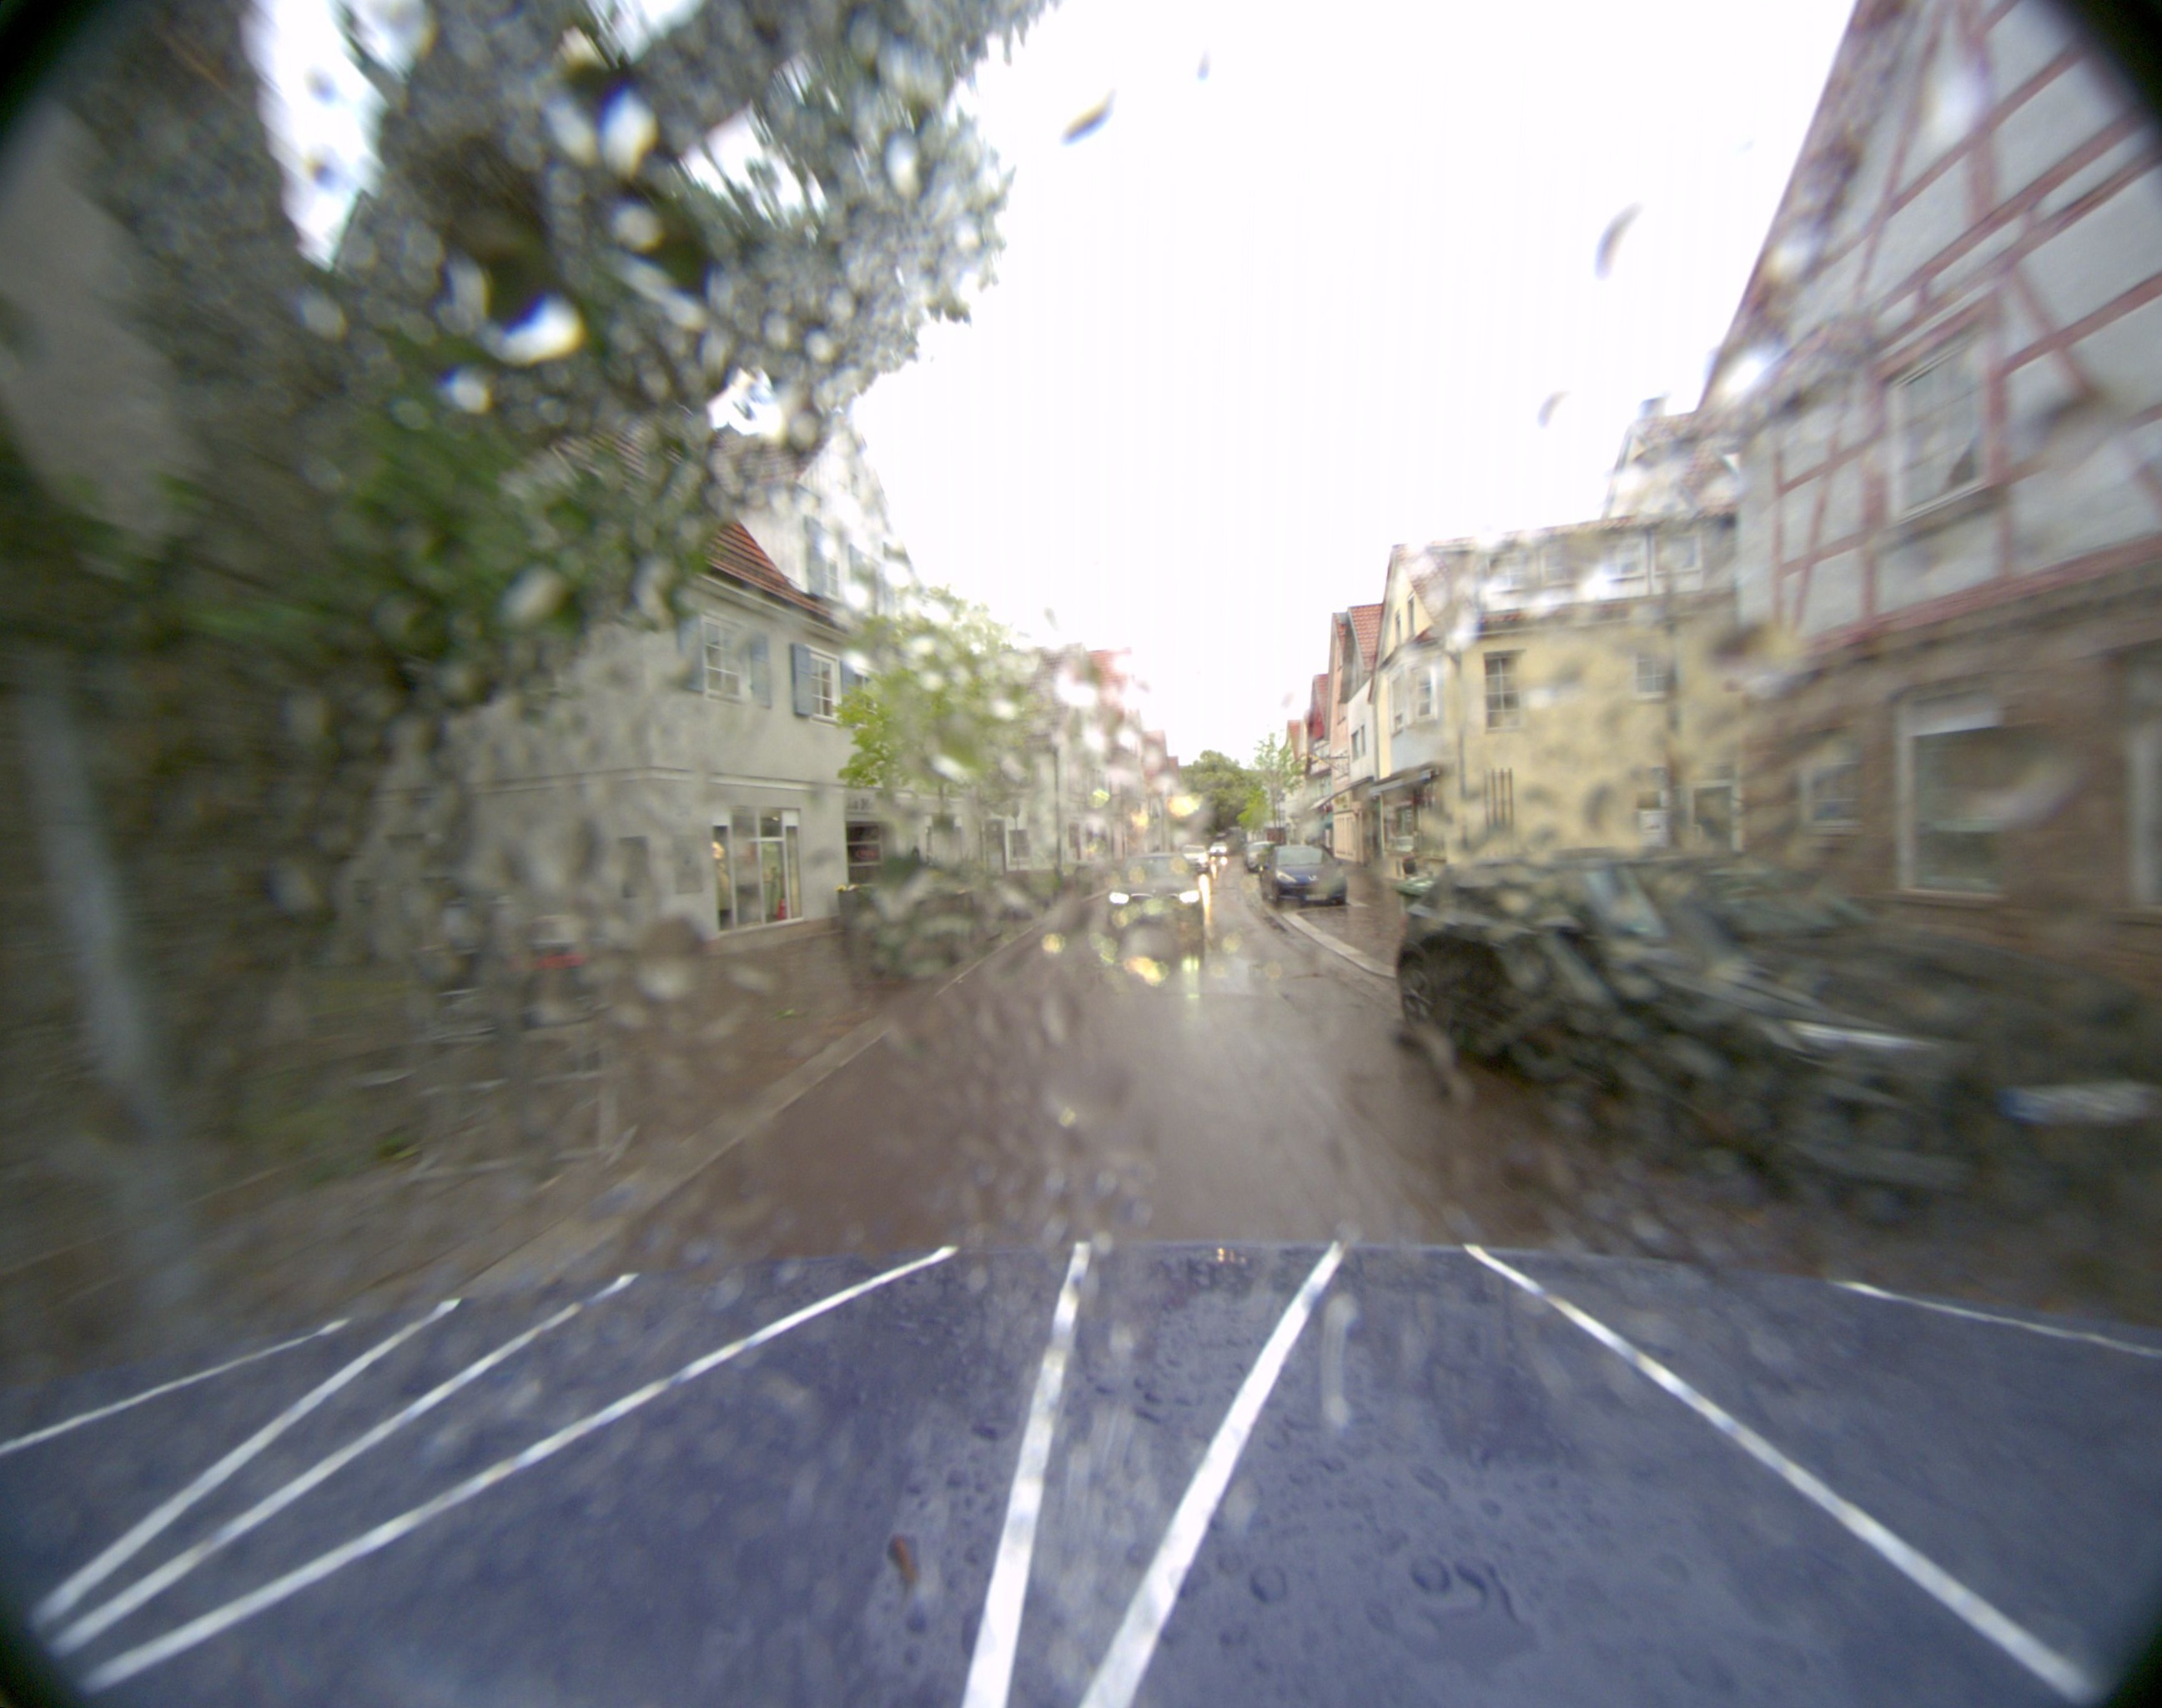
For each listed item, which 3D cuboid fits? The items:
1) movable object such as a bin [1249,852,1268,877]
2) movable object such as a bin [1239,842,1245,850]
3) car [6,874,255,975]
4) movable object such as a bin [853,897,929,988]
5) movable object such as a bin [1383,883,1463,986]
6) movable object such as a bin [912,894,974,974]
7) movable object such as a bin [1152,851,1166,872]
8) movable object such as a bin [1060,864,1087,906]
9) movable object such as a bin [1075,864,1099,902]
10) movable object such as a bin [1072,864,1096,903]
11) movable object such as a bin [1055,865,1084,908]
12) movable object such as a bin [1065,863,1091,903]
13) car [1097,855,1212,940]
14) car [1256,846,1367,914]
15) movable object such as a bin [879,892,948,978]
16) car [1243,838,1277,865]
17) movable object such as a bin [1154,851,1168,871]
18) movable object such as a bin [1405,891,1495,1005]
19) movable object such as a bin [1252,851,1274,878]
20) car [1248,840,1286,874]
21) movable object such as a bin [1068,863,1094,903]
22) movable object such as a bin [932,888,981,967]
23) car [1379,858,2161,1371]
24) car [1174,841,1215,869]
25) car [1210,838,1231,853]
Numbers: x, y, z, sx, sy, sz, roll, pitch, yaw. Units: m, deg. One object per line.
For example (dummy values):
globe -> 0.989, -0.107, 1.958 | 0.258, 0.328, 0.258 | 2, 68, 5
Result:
movable object such as a bin -> 8.366, 0.484, 35.813 | 0.816, 1.100, 0.610 | -2, 2, 8
movable object such as a bin -> 22.425, -1.082, 105.697 | 0.544, 1.143, 0.586 | 0, 3, 39
car -> -17.671, 1.195, 14.407 | 1.588, 1.470, 3.990 | -1, 1, -30
movable object such as a bin -> -2.434, 1.131, 9.787 | 0.730, 1.074, 0.577 | -2, 2, 9
movable object such as a bin -> 4.054, 0.940, 9.044 | 0.631, 1.107, 0.733 | -2, 2, 4
movable object such as a bin -> -2.021, 1.164, 11.178 | 0.694, 1.095, 0.562 | -2, 2, 9
movable object such as a bin -> 4.749, 0.455, 46.388 | 0.719, 1.195, 0.579 | -2, 2, 14
movable object such as a bin -> -0.221, 0.949, 23.624 | 0.679, 1.243, 0.565 | -2, 2, 12
movable object such as a bin -> 0.203, 0.969, 25.860 | 0.659, 1.232, 0.621 | -2, 2, 12
movable object such as a bin -> 0.096, 0.982, 25.294 | 0.659, 1.238, 0.543 | -2, 2, 12
movable object such as a bin -> -0.350, 0.974, 22.967 | 0.679, 1.234, 0.732 | -2, 2, 12
movable object such as a bin -> -0.100, 0.909, 24.186 | 0.679, 1.225, 0.565 | -2, 2, 12
car -> 1.612, 0.788, 16.016 | 1.997, 1.398, 4.895 | -2, 0, 7
car -> 5.773, 0.587, 19.526 | 1.997, 1.463, 4.001 | -3, 1, 7
movable object such as a bin -> -2.313, 1.114, 10.556 | 0.730, 1.095, 0.562 | -2, 2, 9
car -> 12.145, -0.205, 51.815 | 1.837, 1.543, 4.283 | -5, 1, 10
movable object such as a bin -> 4.947, 0.412, 47.093 | 0.719, 1.195, 0.573 | -2, 2, 14
movable object such as a bin -> 3.994, 1.000, 8.259 | 0.631, 1.116, 0.733 | -2, 2, 4
movable object such as a bin -> 8.025, 0.467, 33.481 | 0.816, 1.100, 0.610 | -5, 2, 8
car -> 9.921, 0.130, 40.688 | 1.830, 1.558, 4.002 | -2, 2, 13
movable object such as a bin -> 0.004, 0.939, 24.743 | 0.679, 1.249, 0.543 | -2, 2, 12
movable object such as a bin -> -1.925, 1.129, 11.770 | 0.544, 1.149, 0.577 | -2, 2, 9
car -> 3.616, 0.852, 4.467 | 1.999, 1.486, 3.999 | -4, 0, -2
car -> 6.847, 0.016, 45.596 | 1.996, 1.445, 4.003 | -2, 2, 14
car -> 15.517, -0.960, 84.269 | 1.996, 1.445, 4.003 | -2, 2, 14
